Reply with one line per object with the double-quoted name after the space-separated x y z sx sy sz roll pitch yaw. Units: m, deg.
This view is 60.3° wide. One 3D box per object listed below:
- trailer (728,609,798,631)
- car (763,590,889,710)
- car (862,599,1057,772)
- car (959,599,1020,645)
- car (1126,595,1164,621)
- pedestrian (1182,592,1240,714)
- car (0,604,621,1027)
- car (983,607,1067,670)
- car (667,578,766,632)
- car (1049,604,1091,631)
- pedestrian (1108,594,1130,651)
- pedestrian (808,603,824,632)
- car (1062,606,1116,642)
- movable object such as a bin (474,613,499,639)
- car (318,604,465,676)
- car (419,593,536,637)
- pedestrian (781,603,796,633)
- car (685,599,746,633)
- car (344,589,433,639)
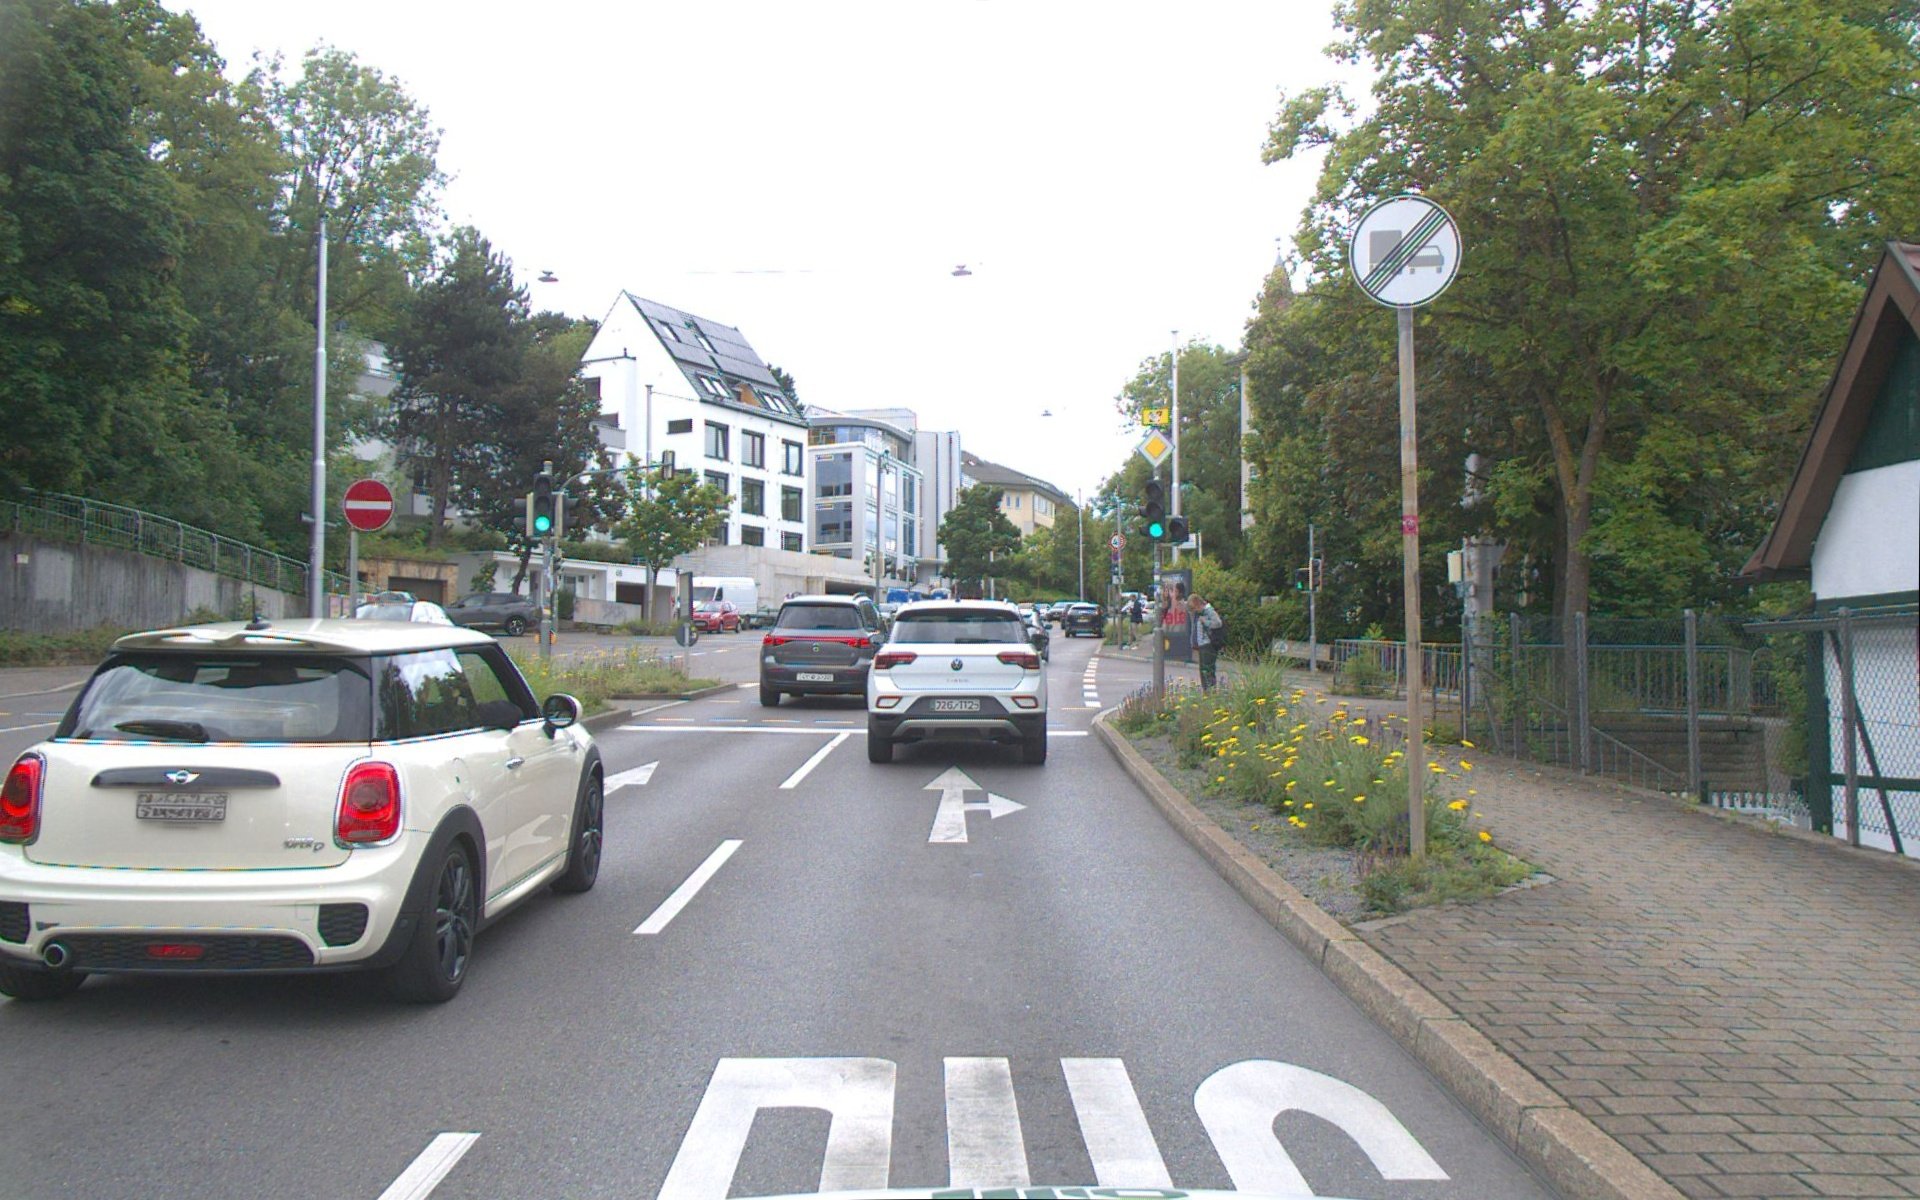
-10.521 1.036 88.568 2.198 1.131 4.626 0 0 15 "trailer"
-2.114 0.718 25.924 1.777 1.681 4.631 -1 0 -5 "car"
-0.081 0.788 17.067 1.775 1.566 3.687 -1 0 -3 "car"
1.154 0.822 63.390 1.818 1.681 4.639 -1 0 7 "car"
11.417 0.478 102.030 1.818 1.527 4.059 -1 0 14 "car"
3.598 0.763 23.690 0.679 1.718 0.620 -2 -1 21 "pedestrian"
-2.660 0.740 7.446 1.595 1.418 3.565 -1 0 -1 "car"
1.828 1.028 45.325 1.833 1.527 4.558 3 0 7 "car"
-12.089 0.245 82.759 2.184 2.613 7.427 0 0 15 "car"
6.310 0.986 94.478 1.818 1.527 4.059 -1 0 12 "car"
5.360 0.754 55.716 0.678 1.866 0.620 1 -1 6 "pedestrian"
-8.437 1.001 97.196 0.667 1.669 0.664 2 0 -33 "pedestrian"
6.013 1.100 76.628 1.833 1.527 4.558 3 0 12 "car"
-19.284 1.058 67.365 0.628 1.029 0.727 1 -1 35 "movable object such as a bin"
-12.092 0.802 35.473 1.683 1.418 4.607 0 0 -2 "car"
-17.596 0.537 60.335 4.055 1.567 1.591 0 0 -18 "car"
-9.824 1.026 94.702 0.613 1.669 0.672 2 0 21 "pedestrian"
-11.168 0.714 75.819 1.587 1.491 3.930 0 0 11 "car"
-19.325 0.487 55.928 2.667 1.547 1.552 3 -2 -25 "car"
